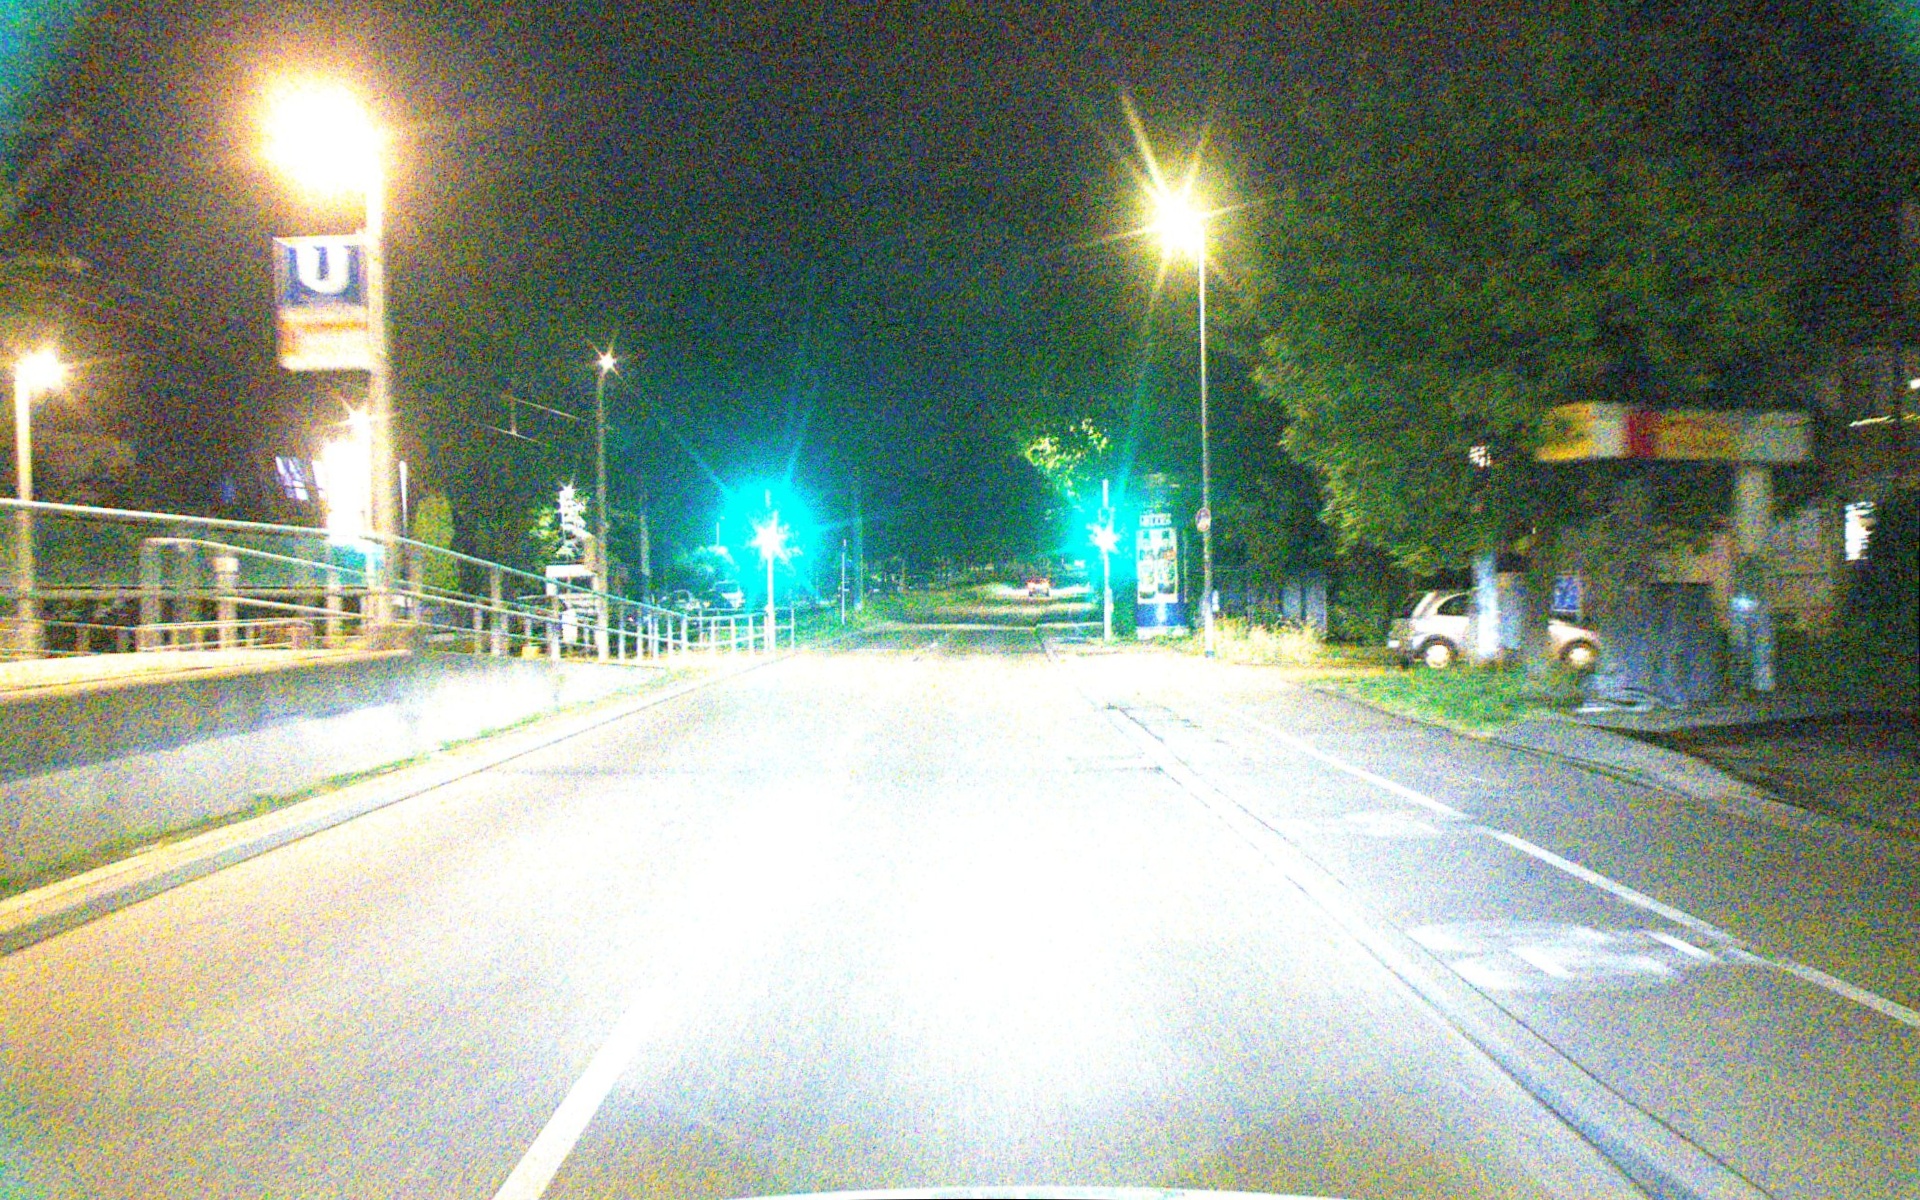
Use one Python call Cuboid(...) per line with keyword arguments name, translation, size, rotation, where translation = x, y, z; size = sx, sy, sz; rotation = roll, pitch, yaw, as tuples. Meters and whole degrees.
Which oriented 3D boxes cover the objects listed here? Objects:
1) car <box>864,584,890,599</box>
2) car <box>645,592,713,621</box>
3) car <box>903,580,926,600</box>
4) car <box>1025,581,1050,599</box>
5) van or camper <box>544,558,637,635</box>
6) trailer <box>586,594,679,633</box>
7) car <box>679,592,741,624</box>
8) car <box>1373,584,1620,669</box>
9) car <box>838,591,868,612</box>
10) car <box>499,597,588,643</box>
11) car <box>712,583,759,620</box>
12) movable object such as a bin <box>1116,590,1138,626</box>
Cuboid(name="car", translation=(-7.928, -0.804, 158.460), size=(1.952, 1.361, 5.434), rotation=(-1, 0, 3))
Cuboid(name="car", translation=(-13.411, 0.317, 79.080), size=(2.967, 1.349, 1.533), rotation=(0, 0, -1))
Cuboid(name="car", translation=(-5.191, -1.169, 188.987), size=(2.048, 2.048, 4.002), rotation=(-5, 1, 3))
Cuboid(name="car", translation=(6.971, -0.907, 148.382), size=(2.117, 1.610, 4.014), rotation=(0, 0, 1))
Cuboid(name="van or camper", translation=(-14.118, -0.157, 63.604), size=(2.226, 2.693, 5.664), rotation=(-3, 0, 0))
Cuboid(name="trailer", translation=(-13.888, 0.554, 70.470), size=(2.368, 1.398, 4.659), rotation=(-5, 0, 8))
Cuboid(name="car", translation=(-12.751, 0.395, 84.560), size=(1.861, 1.549, 5.175), rotation=(0, 0, 6))
Cuboid(name="car", translation=(9.253, 0.442, 28.749), size=(3.686, 1.378, 1.859), rotation=(-1, 0, 1))
Cuboid(name="car", translation=(-8.991, 0.124, 138.998), size=(1.952, 1.656, 4.679), rotation=(-1, 0, 3))
Cuboid(name="car", translation=(-14.333, 0.662, 57.176), size=(1.612, 1.362, 4.545), rotation=(-5, 0, 3))
Cuboid(name="car", translation=(-12.276, 0.069, 90.626), size=(1.819, 1.937, 4.881), rotation=(0, 0, 1))
Cuboid(name="movable object such as a bin", translation=(5.838, 0.280, 57.837), size=(0.708, 1.221, 0.720), rotation=(-1, 0, 11))
